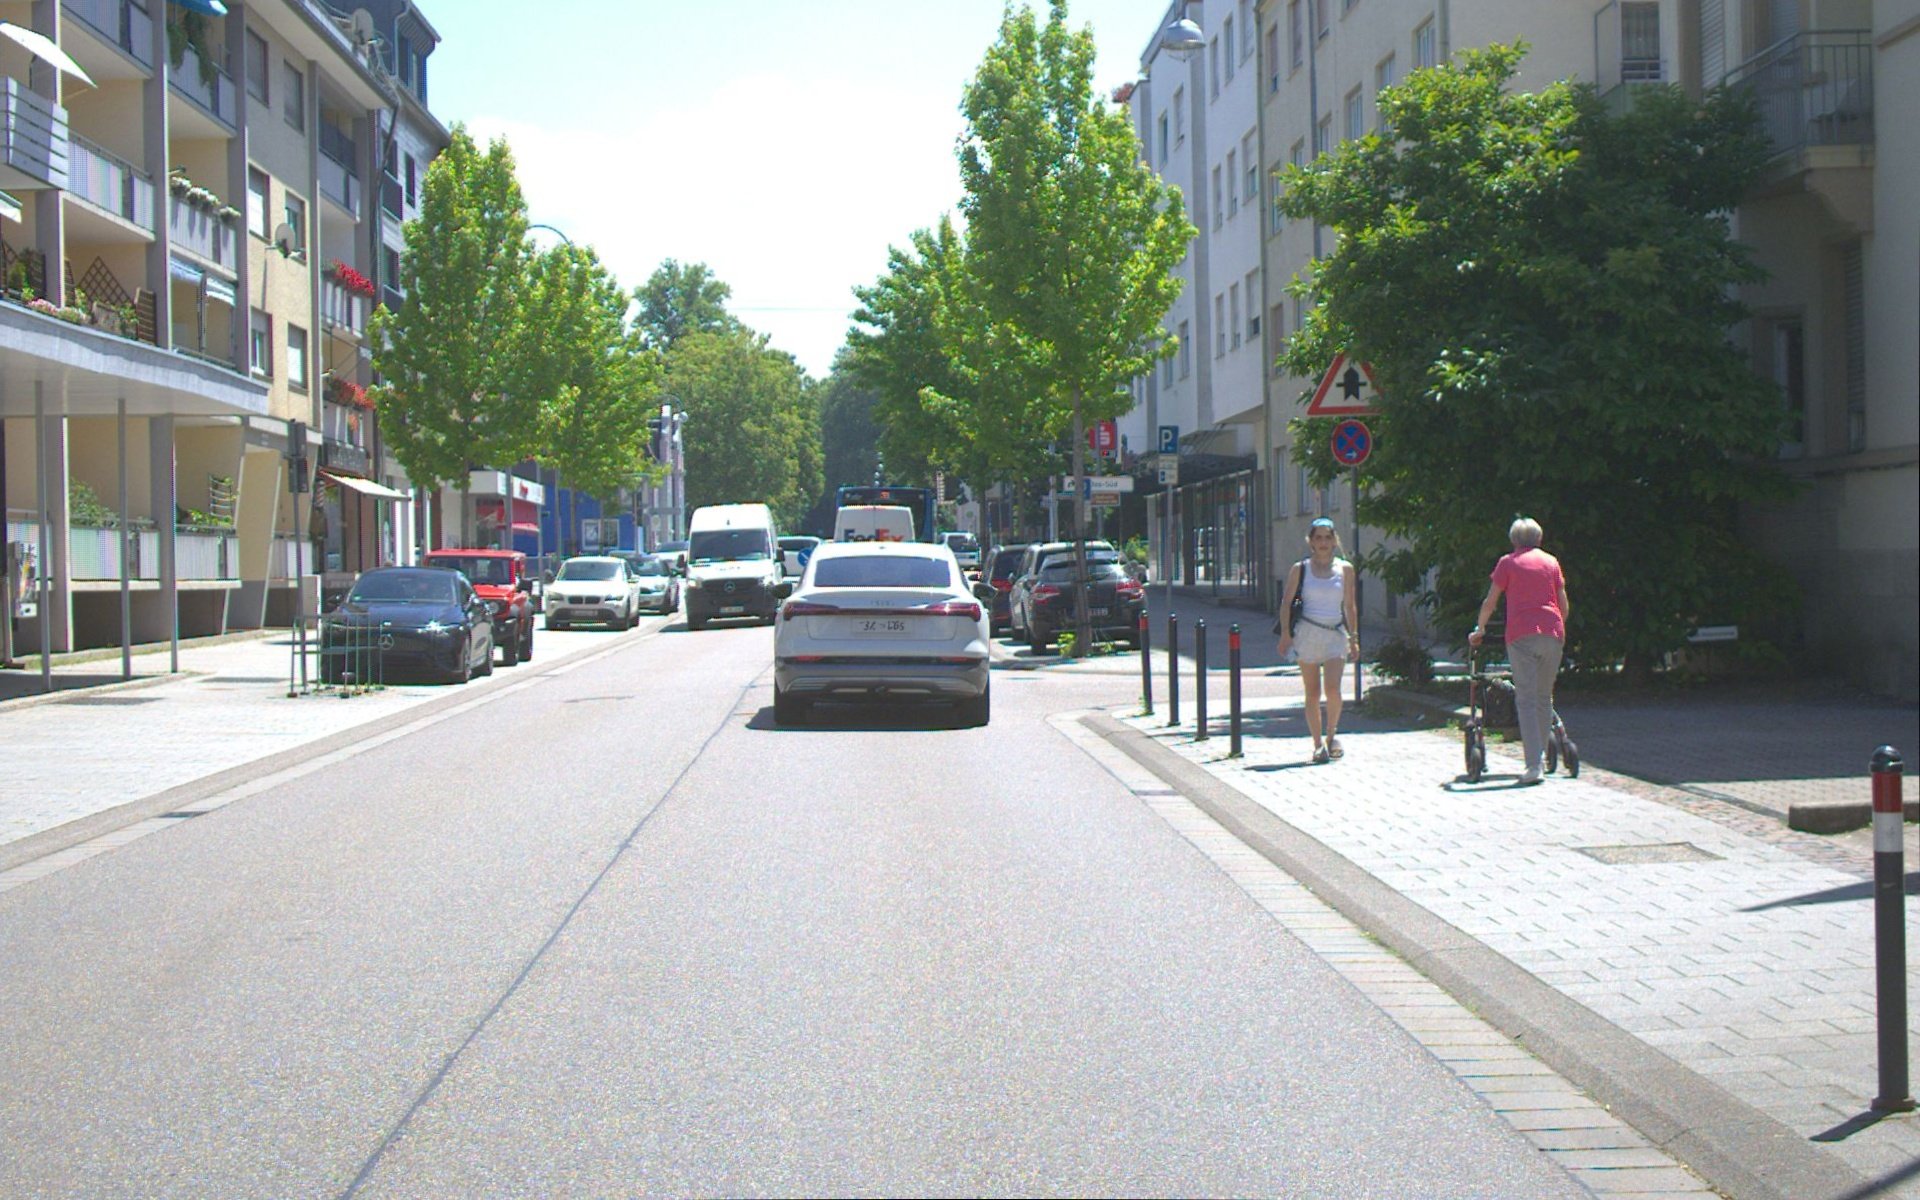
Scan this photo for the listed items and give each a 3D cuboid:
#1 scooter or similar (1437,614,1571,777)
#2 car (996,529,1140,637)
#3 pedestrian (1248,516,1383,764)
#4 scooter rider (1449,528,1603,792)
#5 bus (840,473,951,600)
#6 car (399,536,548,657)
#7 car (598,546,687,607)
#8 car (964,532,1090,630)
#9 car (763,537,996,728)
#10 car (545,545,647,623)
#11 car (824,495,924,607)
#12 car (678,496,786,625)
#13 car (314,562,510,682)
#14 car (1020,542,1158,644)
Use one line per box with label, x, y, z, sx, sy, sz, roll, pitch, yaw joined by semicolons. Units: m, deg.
scooter or similar;3.380;0.584;21.412;0.663;0.960;0.754;-2;1;-2
car;1.784;-0.319;58.201;1.896;1.669;4.691;-3;1;-4
pedestrian;2.420;0.267;23.471;0.700;1.621;0.784;-4;0;-3
scooter rider;3.408;0.349;20.758;0.716;1.543;0.770;-2;1;-3
bus;-1.661;-1.675;92.043;2.661;3.210;7.301;1;1;1
car;-7.197;-0.075;51.170;1.752;1.696;4.102;1;1;-2
car;-7.850;-0.597;85.342;1.752;1.448;4.401;1;1;0
car;1.203;-0.380;63.535;1.855;1.669;4.538;-3;1;-4
car;-0.785;0.249;31.577;1.993;1.627;4.001;0;1;-3
car;-7.857;-0.375;74.474;1.752;1.612;4.401;1;1;0
car;-1.956;-1.098;78.433;2.156;2.433;5.284;1;1;-1
car;-4.987;-0.895;76.191;2.036;2.621;7.108;-3;1;-2
car;-7.053;0.243;44.700;1.896;1.412;5.048;1;1;-2
car;1.913;-0.134;52.062;1.896;1.433;4.544;-1;1;0
